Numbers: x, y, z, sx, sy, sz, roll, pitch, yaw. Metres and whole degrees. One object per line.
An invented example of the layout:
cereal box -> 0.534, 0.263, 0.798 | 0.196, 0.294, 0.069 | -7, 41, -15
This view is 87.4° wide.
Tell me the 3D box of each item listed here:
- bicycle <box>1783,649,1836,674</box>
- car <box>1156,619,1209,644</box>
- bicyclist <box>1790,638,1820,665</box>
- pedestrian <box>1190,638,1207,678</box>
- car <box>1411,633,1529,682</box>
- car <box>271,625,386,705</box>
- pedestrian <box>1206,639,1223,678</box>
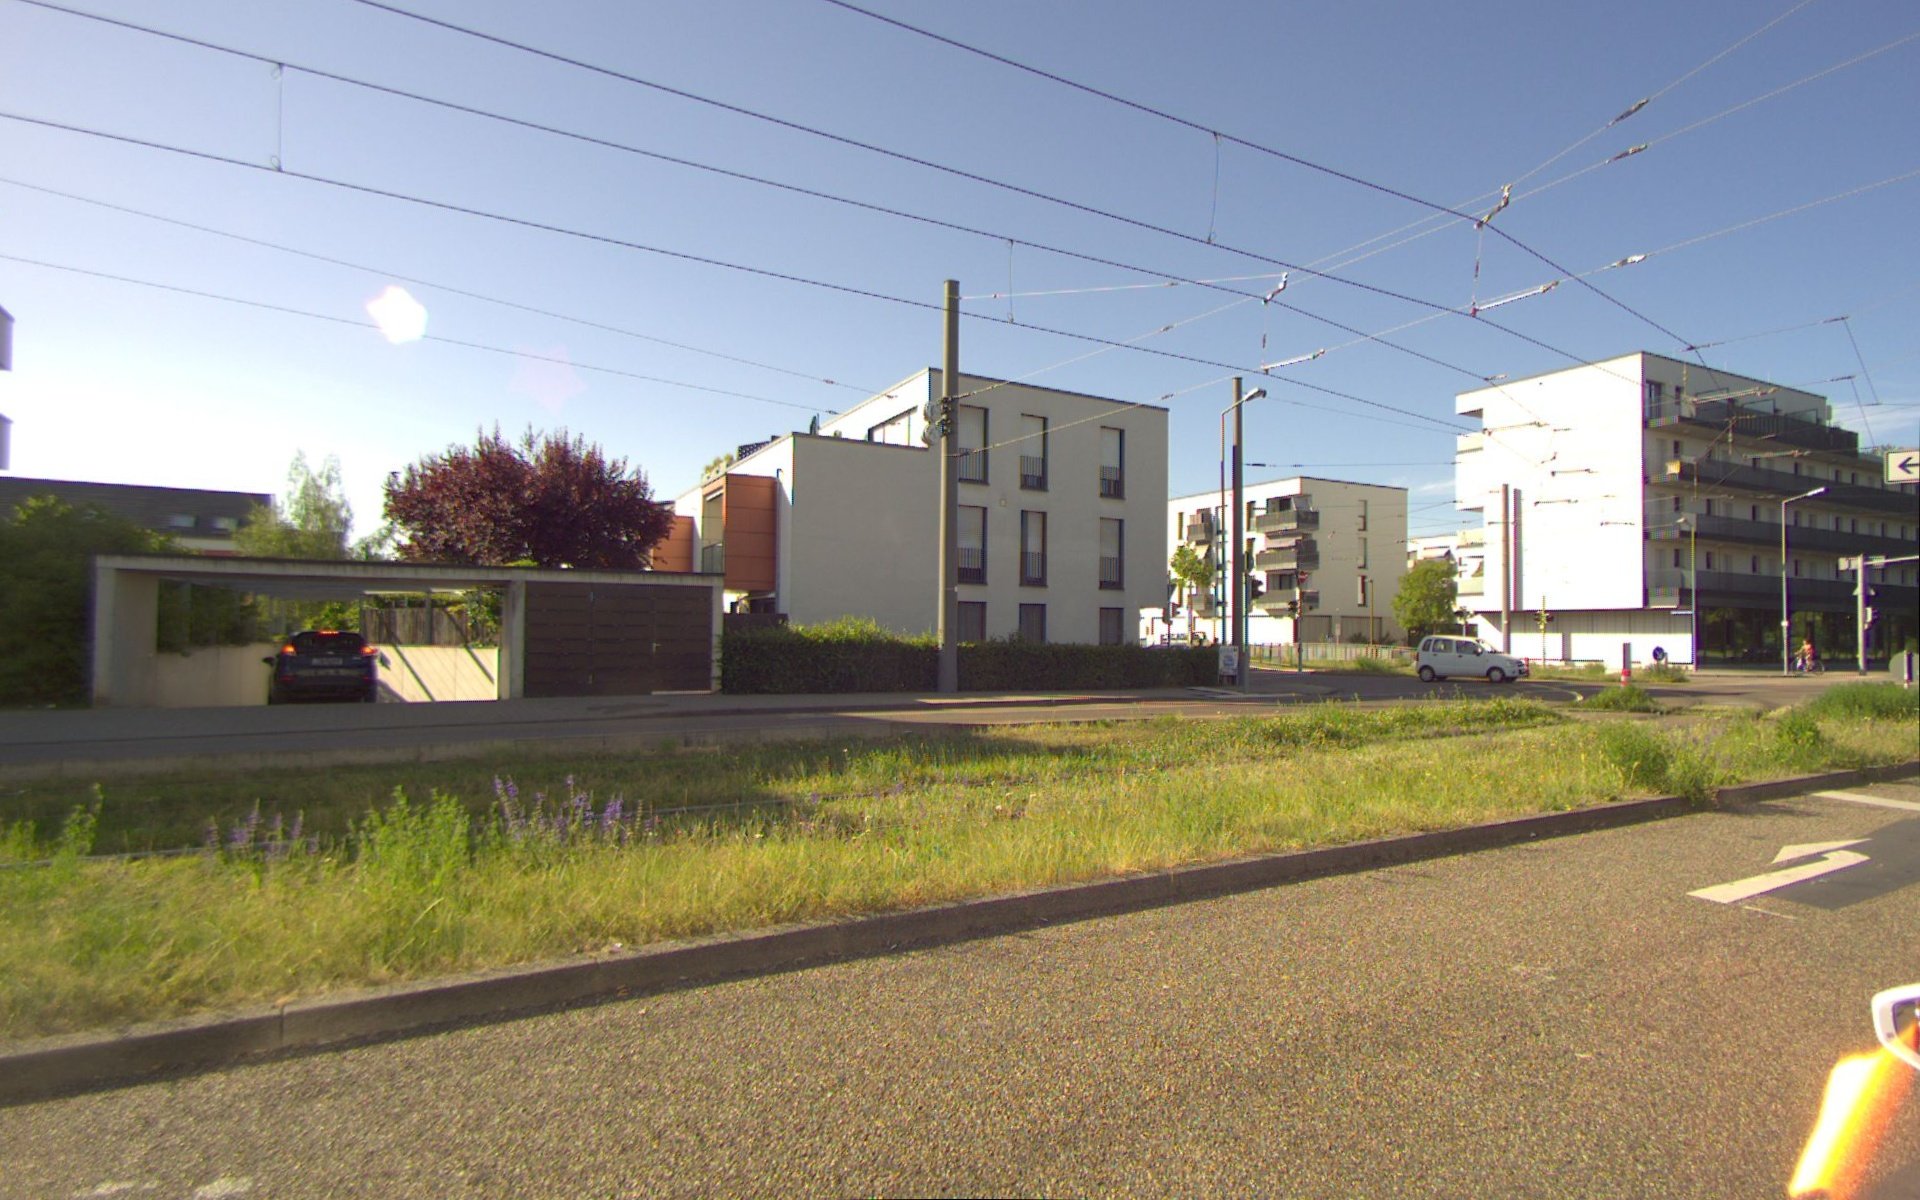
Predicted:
bicycle -> 40.539, 2.935, 47.934 | 1.800, 1.099, 0.969 | 1, 0, -6
car -> 17.693, 2.487, 80.035 | 1.977, 1.862, 3.967 | 1, 0, -31
bicyclist -> 40.334, 2.455, 47.948 | 0.729, 1.252, 0.842 | 1, 0, -5
pedestrian -> 9.331, 2.264, 39.323 | 0.548, 1.483, 0.742 | 1, 0, 19
car -> 18.322, 2.070, 36.176 | 1.582, 1.674, 3.456 | 2, -3, -45
car -> -12.613, 1.366, 20.246 | 1.688, 1.449, 3.714 | 2, -6, -29
pedestrian -> 9.896, 2.277, 39.091 | 0.548, 1.483, 0.611 | 1, 0, 23
